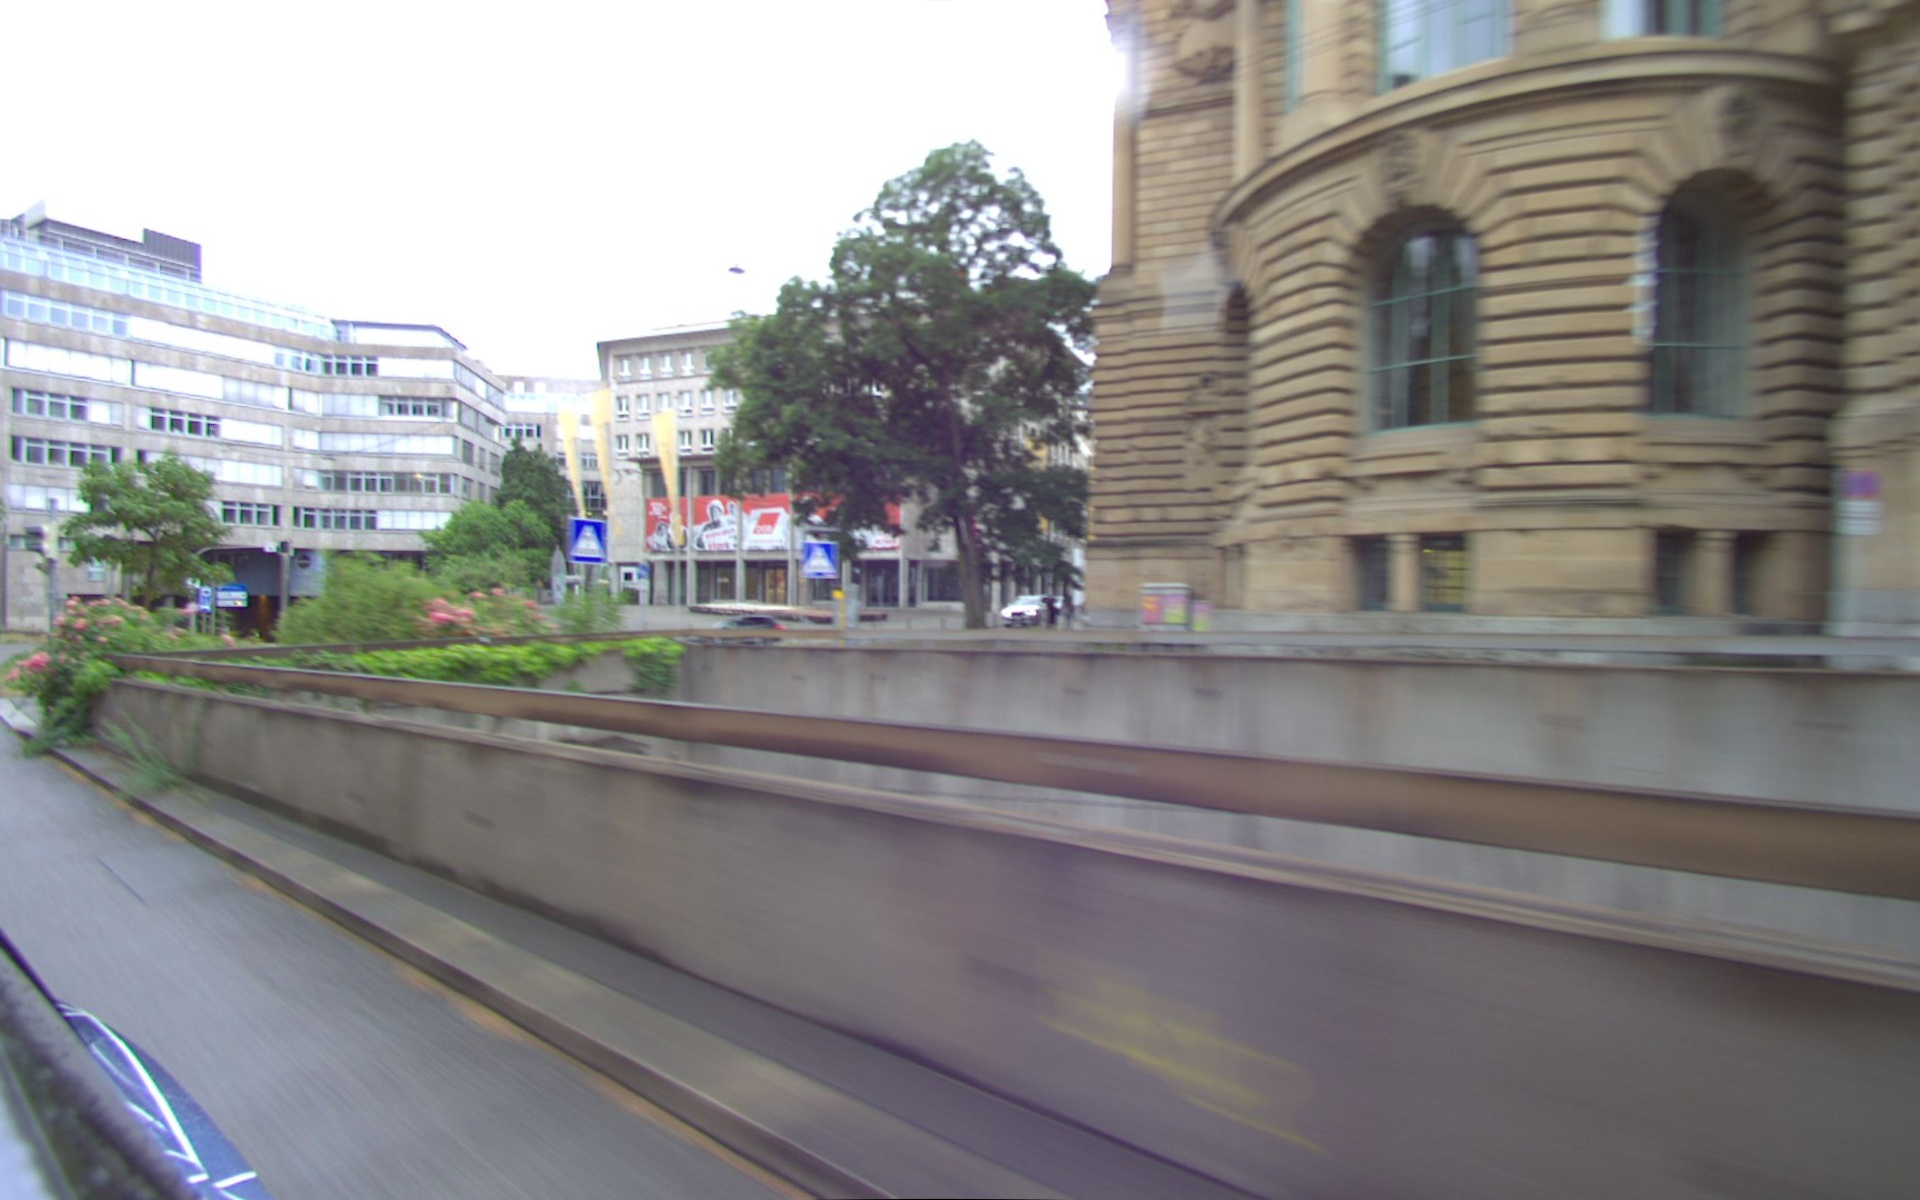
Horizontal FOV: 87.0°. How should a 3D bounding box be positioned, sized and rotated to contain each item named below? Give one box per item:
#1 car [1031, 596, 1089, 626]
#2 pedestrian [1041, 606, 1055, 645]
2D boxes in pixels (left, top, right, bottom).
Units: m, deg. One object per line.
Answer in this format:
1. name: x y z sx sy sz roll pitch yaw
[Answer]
1. car: 5.388 0.604 54.262 1.987 1.568 4.181 -1 -1 22
2. pedestrian: 3.730 1.090 42.790 0.496 1.636 0.384 -1 -2 22
